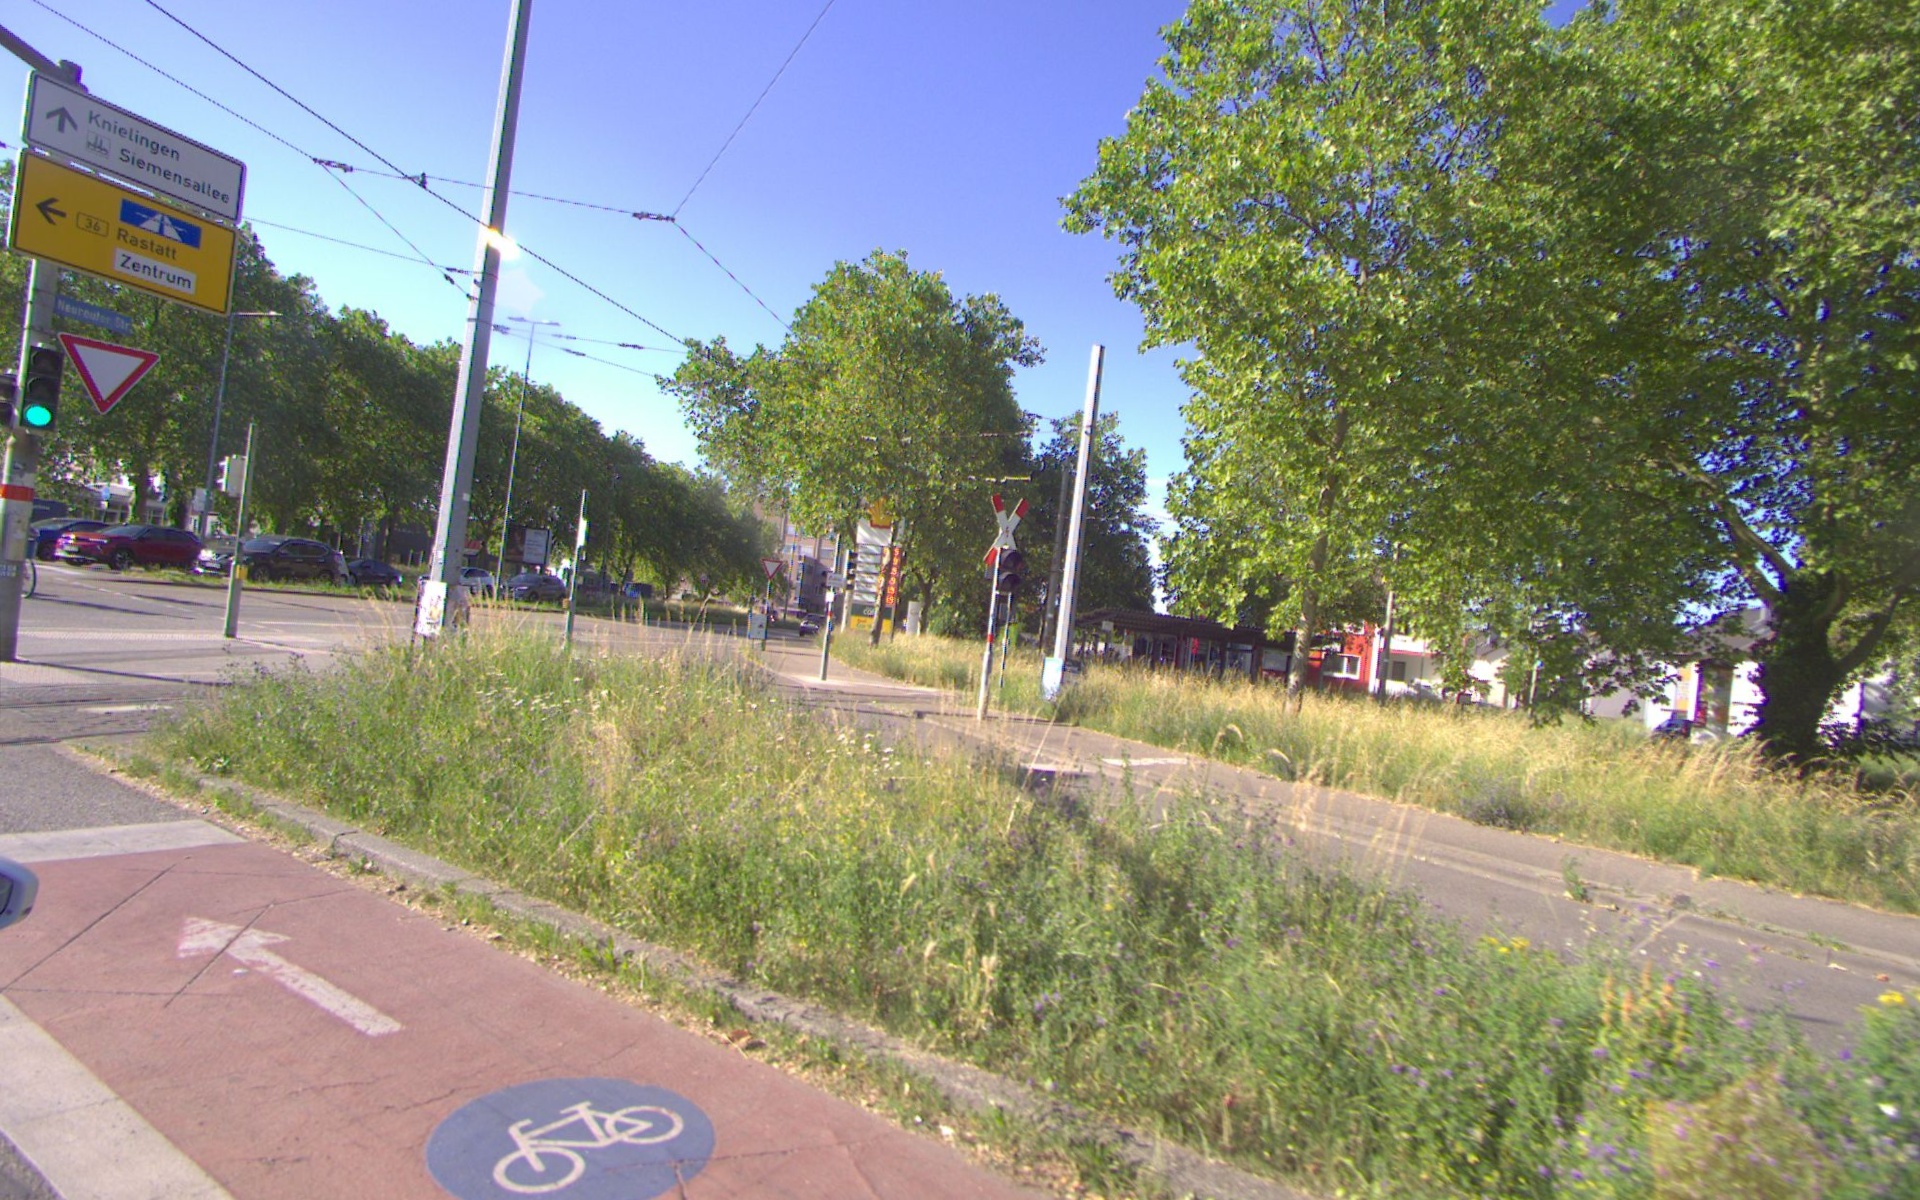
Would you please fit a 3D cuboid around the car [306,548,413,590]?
[{"bbox_3d":[-27.879,-1.390,46.908,1.898,1.424,4.574,7,-2,4],"label":"car"}]

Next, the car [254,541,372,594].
[{"bbox_3d":[-25.381,-1.225,39.621,1.680,1.619,3.864,7,-2,8],"label":"car"}]

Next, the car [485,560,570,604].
[{"bbox_3d":[-20.819,-0.841,48.661,1.962,1.637,4.003,8,-1,5],"label":"car"}]

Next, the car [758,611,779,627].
[{"bbox_3d":[-21.024,2.102,110.711,1.347,1.635,3.212,7,-1,4],"label":"car"}]

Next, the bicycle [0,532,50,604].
[{"bbox_3d":[-16.718,-0.605,17.520,1.787,1.132,0.468,6,-1,22],"label":"bicycle"}]

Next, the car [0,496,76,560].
[{"bbox_3d":[-36.233,-2.892,37.071,2.099,2.094,5.103,6,-2,38],"label":"car"}]

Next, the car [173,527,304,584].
[{"bbox_3d":[-28.748,-1.719,40.267,1.898,1.698,4.179,7,-2,4],"label":"car"}]

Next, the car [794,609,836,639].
[{"bbox_3d":[-9.774,1.628,68.025,1.792,1.724,3.778,7,-2,6],"label":"car"}]

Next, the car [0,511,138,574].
[{"bbox_3d":[-29.808,-1.892,33.337,1.681,1.619,3.863,6,-1,4],"label":"car"}]

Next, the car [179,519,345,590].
[{"bbox_3d":[-22.486,-1.405,32.659,1.884,1.731,4.498,6,-1,4],"label":"car"}]

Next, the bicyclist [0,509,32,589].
[{"bbox_3d":[-16.910,-0.911,17.732,0.555,1.357,0.511,6,0,22],"label":"bicyclist"}]

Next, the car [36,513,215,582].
[{"bbox_3d":[-26.037,-1.577,31.605,1.782,1.619,4.094,6,-1,8],"label":"car"}]

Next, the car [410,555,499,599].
[{"bbox_3d":[-26.892,-1.180,53.700,1.873,1.701,4.783,6,-3,5],"label":"car"}]
